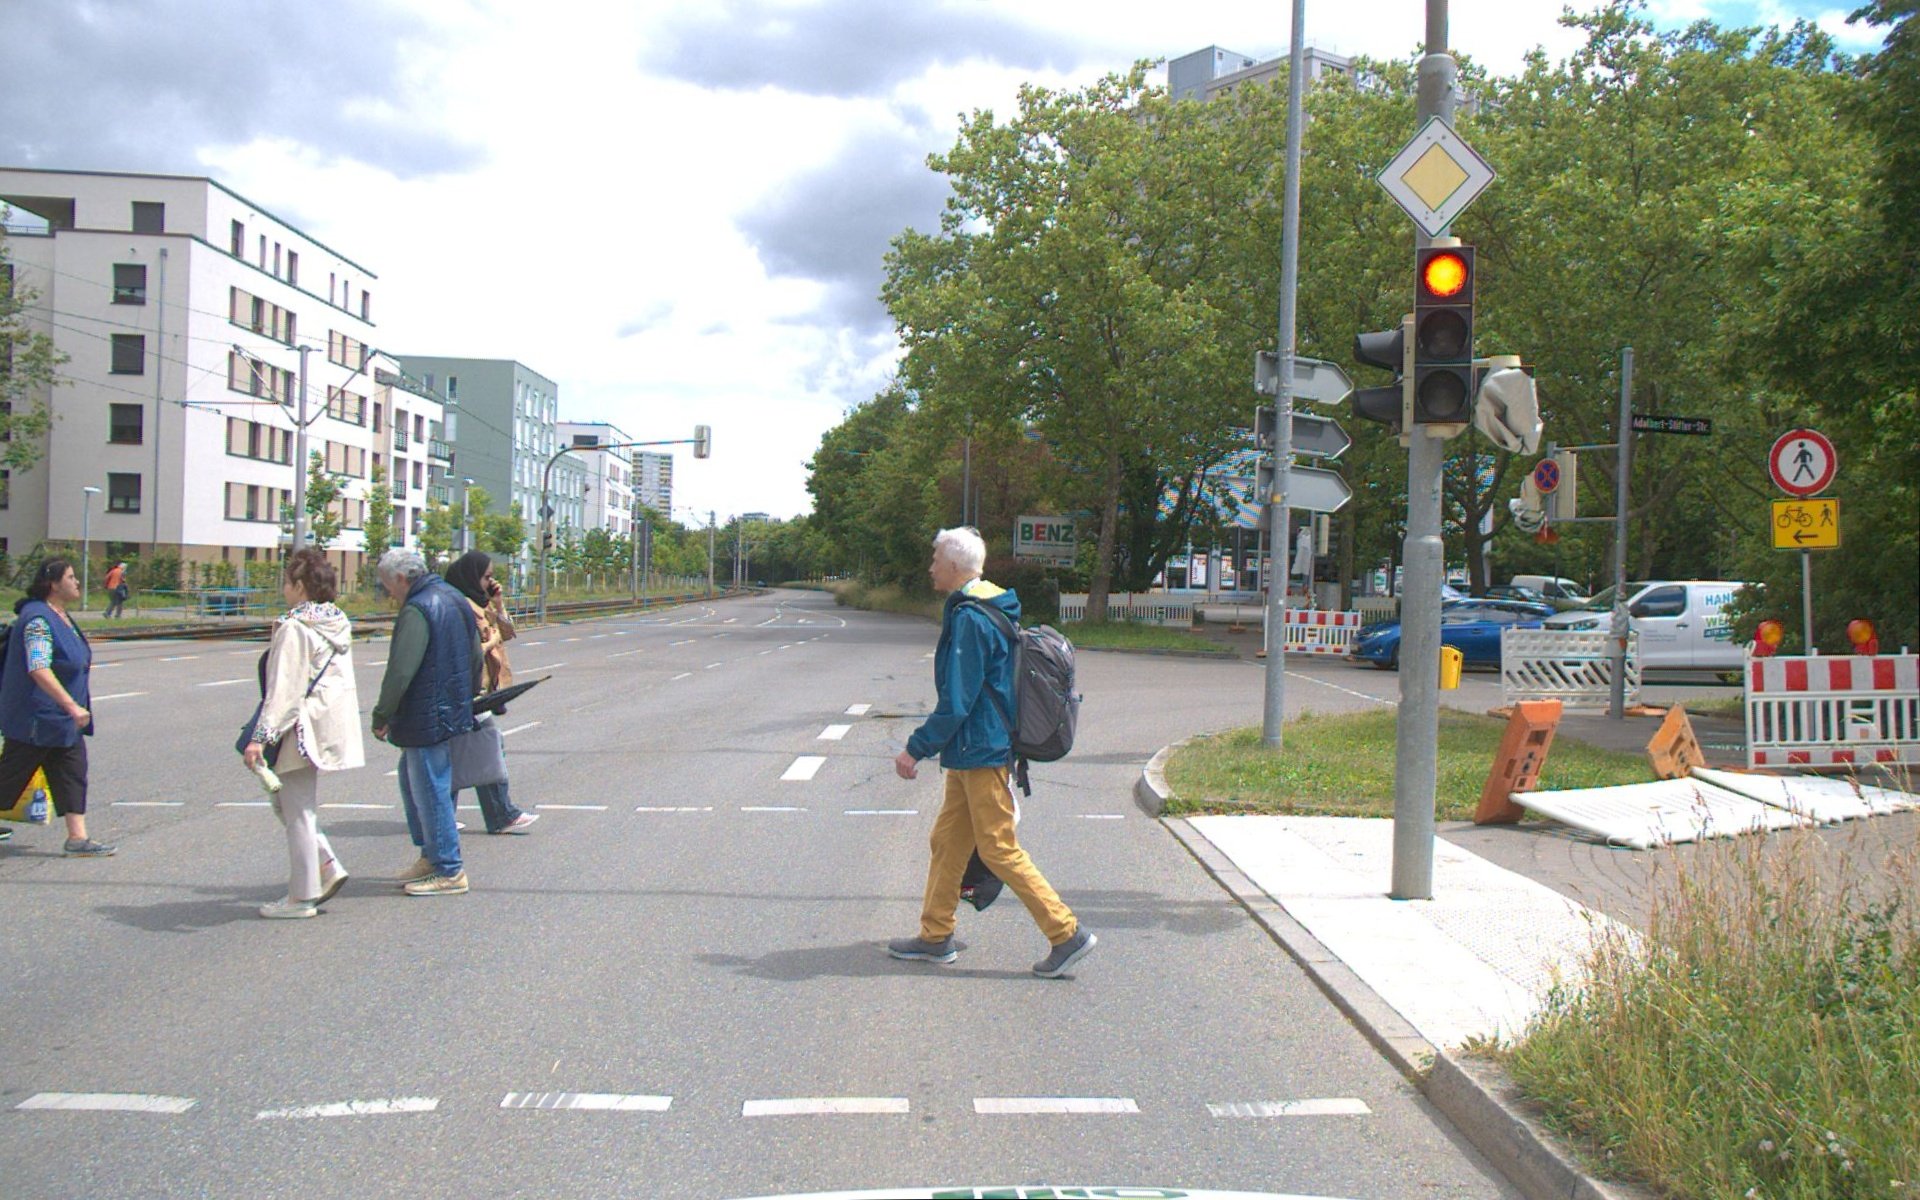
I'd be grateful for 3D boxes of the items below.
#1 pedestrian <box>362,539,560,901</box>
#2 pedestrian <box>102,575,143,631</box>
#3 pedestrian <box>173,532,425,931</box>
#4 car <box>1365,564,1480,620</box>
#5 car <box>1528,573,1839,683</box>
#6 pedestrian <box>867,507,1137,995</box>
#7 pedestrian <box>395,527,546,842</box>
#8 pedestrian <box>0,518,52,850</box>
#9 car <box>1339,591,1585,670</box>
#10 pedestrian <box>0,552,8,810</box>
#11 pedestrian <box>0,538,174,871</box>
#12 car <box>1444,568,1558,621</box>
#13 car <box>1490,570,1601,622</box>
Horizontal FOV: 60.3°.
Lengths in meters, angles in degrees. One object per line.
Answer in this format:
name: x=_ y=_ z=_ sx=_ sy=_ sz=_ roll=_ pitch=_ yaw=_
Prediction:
pedestrian: x=-2.410 y=0.552 z=8.078 sx=0.853 sy=1.663 sz=0.763 roll=1 pitch=0 yaw=-13
pedestrian: x=-23.079 y=0.075 z=45.580 sx=0.814 sy=1.542 sz=0.636 roll=1 pitch=0 yaw=-1
pedestrian: x=-2.894 y=0.549 z=7.310 sx=0.806 sy=1.668 sz=0.733 roll=1 pitch=1 yaw=-1
car: x=17.521 y=-0.311 z=62.829 sx=1.974 sy=2.049 sz=3.957 roll=0 pitch=1 yaw=-32
car: x=13.426 y=0.502 z=30.863 sx=4.976 sy=1.906 sz=1.947 roll=1 pitch=0 yaw=-5
pedestrian: x=0.195 y=0.555 z=6.661 sx=0.988 sy=1.805 sz=0.949 roll=1 pitch=0 yaw=5
pedestrian: x=-2.876 y=0.474 z=9.791 sx=0.768 sy=1.773 sz=0.826 roll=1 pitch=0 yaw=-12
pedestrian: x=-5.694 y=0.451 z=9.000 sx=0.982 sy=1.804 sz=0.929 roll=1 pitch=0 yaw=-1
car: x=10.179 y=0.601 z=33.768 sx=4.386 sy=1.512 sz=1.988 roll=1 pitch=0 yaw=-2
pedestrian: x=-6.514 y=0.511 z=10.075 sx=0.874 sy=1.624 sz=0.908 roll=1 pitch=0 yaw=3
pedestrian: x=-4.767 y=0.506 z=8.604 sx=0.894 sy=1.635 sz=0.929 roll=1 pitch=0 yaw=0
car: x=21.365 y=-0.231 z=65.463 sx=1.974 sy=2.049 sz=3.957 roll=0 pitch=1 yaw=-32
car: x=23.933 y=-0.178 z=67.699 sx=1.974 sy=2.049 sz=3.957 roll=0 pitch=1 yaw=-32
